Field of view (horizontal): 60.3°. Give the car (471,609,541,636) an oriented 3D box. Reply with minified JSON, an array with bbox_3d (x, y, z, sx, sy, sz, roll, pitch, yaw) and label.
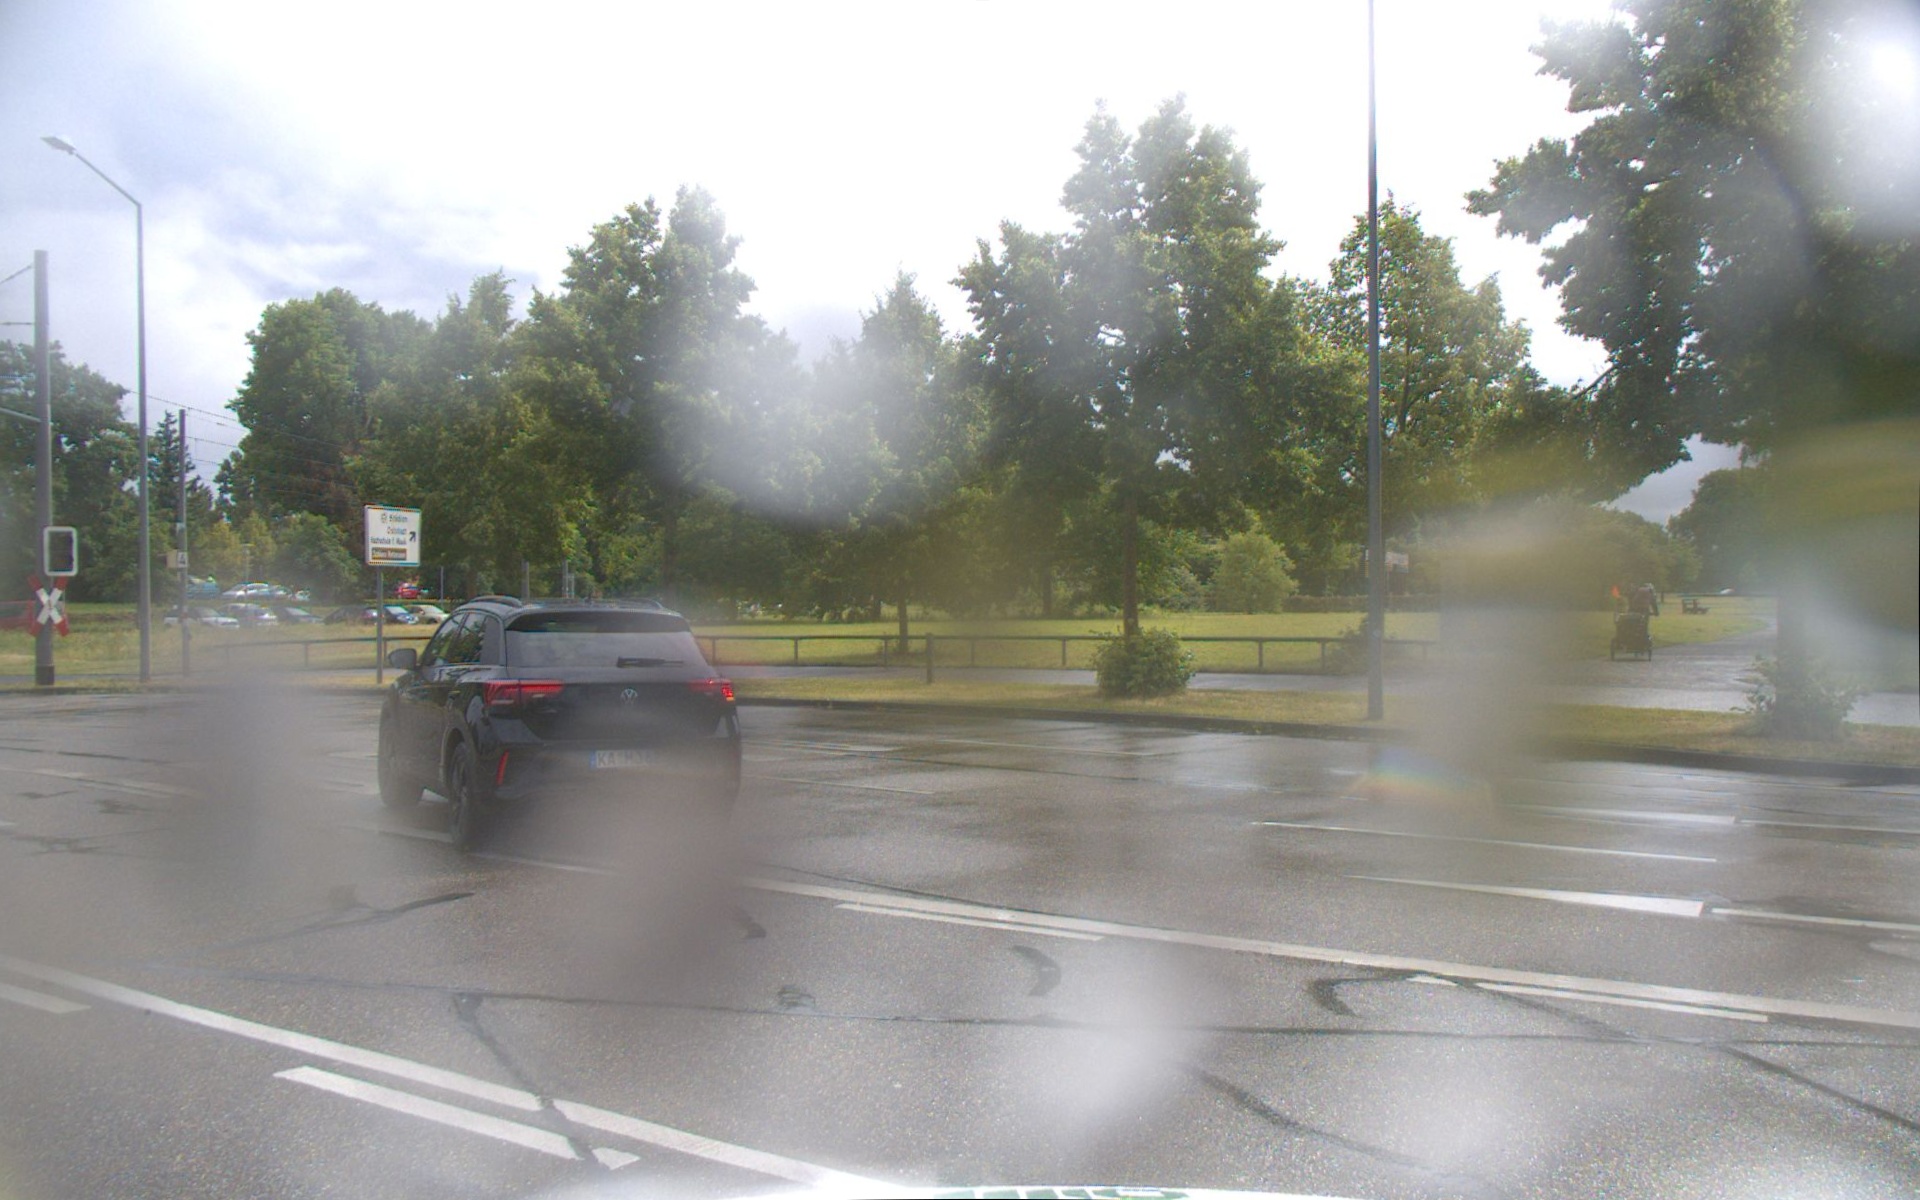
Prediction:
[{"bbox_3d":[-27.898,1.373,101.678,3.887,1.587,1.849,-1,0,26],"label":"car"}]

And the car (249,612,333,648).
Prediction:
[{"bbox_3d":[-34.955,1.569,86.447,3.909,1.744,1.998,-1,0,27],"label":"car"}]

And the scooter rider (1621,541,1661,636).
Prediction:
[{"bbox_3d":[14.921,-0.238,36.242,0.691,2.049,0.768,0,-2,32],"label":"scooter rider"}]

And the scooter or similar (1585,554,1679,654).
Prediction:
[{"bbox_3d":[14.470,0.124,35.537,1.214,2.049,3.397,0,-2,34],"label":"scooter or similar"}]

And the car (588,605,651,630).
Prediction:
[{"bbox_3d":[-23.061,1.199,112.041,3.887,1.587,1.849,-1,0,26],"label":"car"}]

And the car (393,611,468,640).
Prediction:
[{"bbox_3d":[-30.566,1.465,95.449,3.887,1.587,1.849,-1,0,26],"label":"car"}]

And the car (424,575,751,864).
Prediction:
[{"bbox_3d":[-2.667,0.698,11.633,1.866,1.646,3.984,0,0,-15],"label":"car"}]

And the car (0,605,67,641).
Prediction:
[{"bbox_3d":[-41.214,1.016,72.942,3.571,1.537,1.646,-1,0,31],"label":"car"}]

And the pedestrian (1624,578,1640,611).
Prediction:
[{"bbox_3d":[36.526,-0.293,89.914,0.599,1.762,0.591,2,-2,-38],"label":"pedestrian"}]

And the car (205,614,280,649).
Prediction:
[{"bbox_3d":[-36.384,1.601,83.905,3.546,1.689,1.549,-1,0,26],"label":"car"}]

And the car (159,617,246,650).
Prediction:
[{"bbox_3d":[-37.470,1.669,81.803,3.908,1.554,1.797,-1,0,26],"label":"car"}]

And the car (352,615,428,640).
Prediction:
[{"bbox_3d":[-32.101,1.550,93.113,3.887,1.331,1.849,-1,0,26],"label":"car"}]

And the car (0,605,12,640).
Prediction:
[{"bbox_3d":[-42.407,0.983,70.712,3.530,1.487,1.643,-1,0,28],"label":"car"}]
